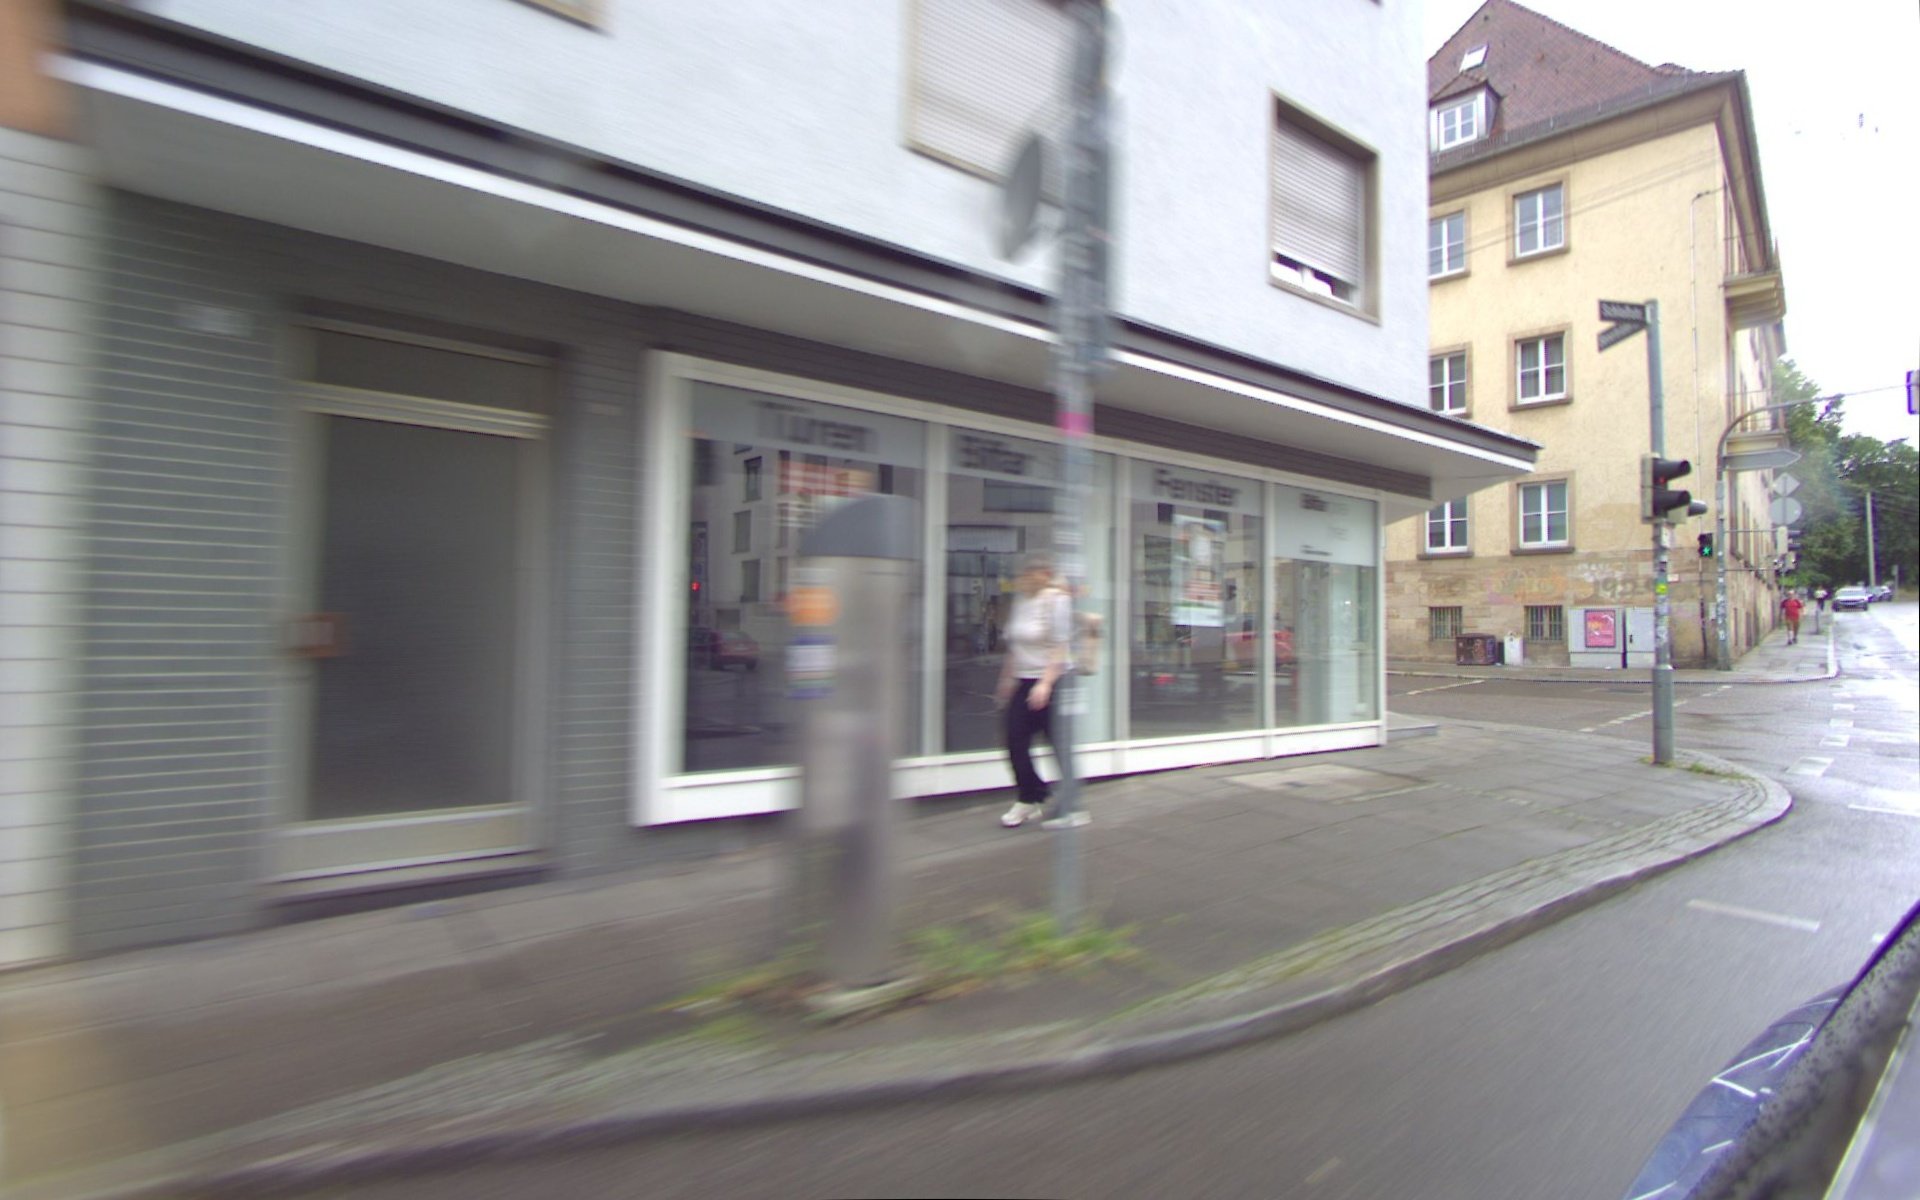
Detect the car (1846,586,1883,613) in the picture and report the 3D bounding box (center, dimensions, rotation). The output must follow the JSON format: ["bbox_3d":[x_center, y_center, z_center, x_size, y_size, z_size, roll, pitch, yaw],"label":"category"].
[{"bbox_3d":[63.491,-0.066,71.082,1.719,1.707,3.811,-5,-2,40],"label":"car"}]

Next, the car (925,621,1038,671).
[{"bbox_3d":[0.676,1.511,34.607,1.801,1.474,3.858,-1,1,-39],"label":"car"}]

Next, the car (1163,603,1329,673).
[{"bbox_3d":[7.297,0.911,26.119,1.733,1.538,3.861,-3,2,-36],"label":"car"}]

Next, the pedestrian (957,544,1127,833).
[{"bbox_3d":[0.499,0.492,6.096,0.687,1.592,0.751,0,-1,41],"label":"pedestrian"}]

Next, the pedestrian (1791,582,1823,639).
[{"bbox_3d":[27.515,0.321,32.868,0.746,1.785,0.806,2,3,41],"label":"pedestrian"}]
